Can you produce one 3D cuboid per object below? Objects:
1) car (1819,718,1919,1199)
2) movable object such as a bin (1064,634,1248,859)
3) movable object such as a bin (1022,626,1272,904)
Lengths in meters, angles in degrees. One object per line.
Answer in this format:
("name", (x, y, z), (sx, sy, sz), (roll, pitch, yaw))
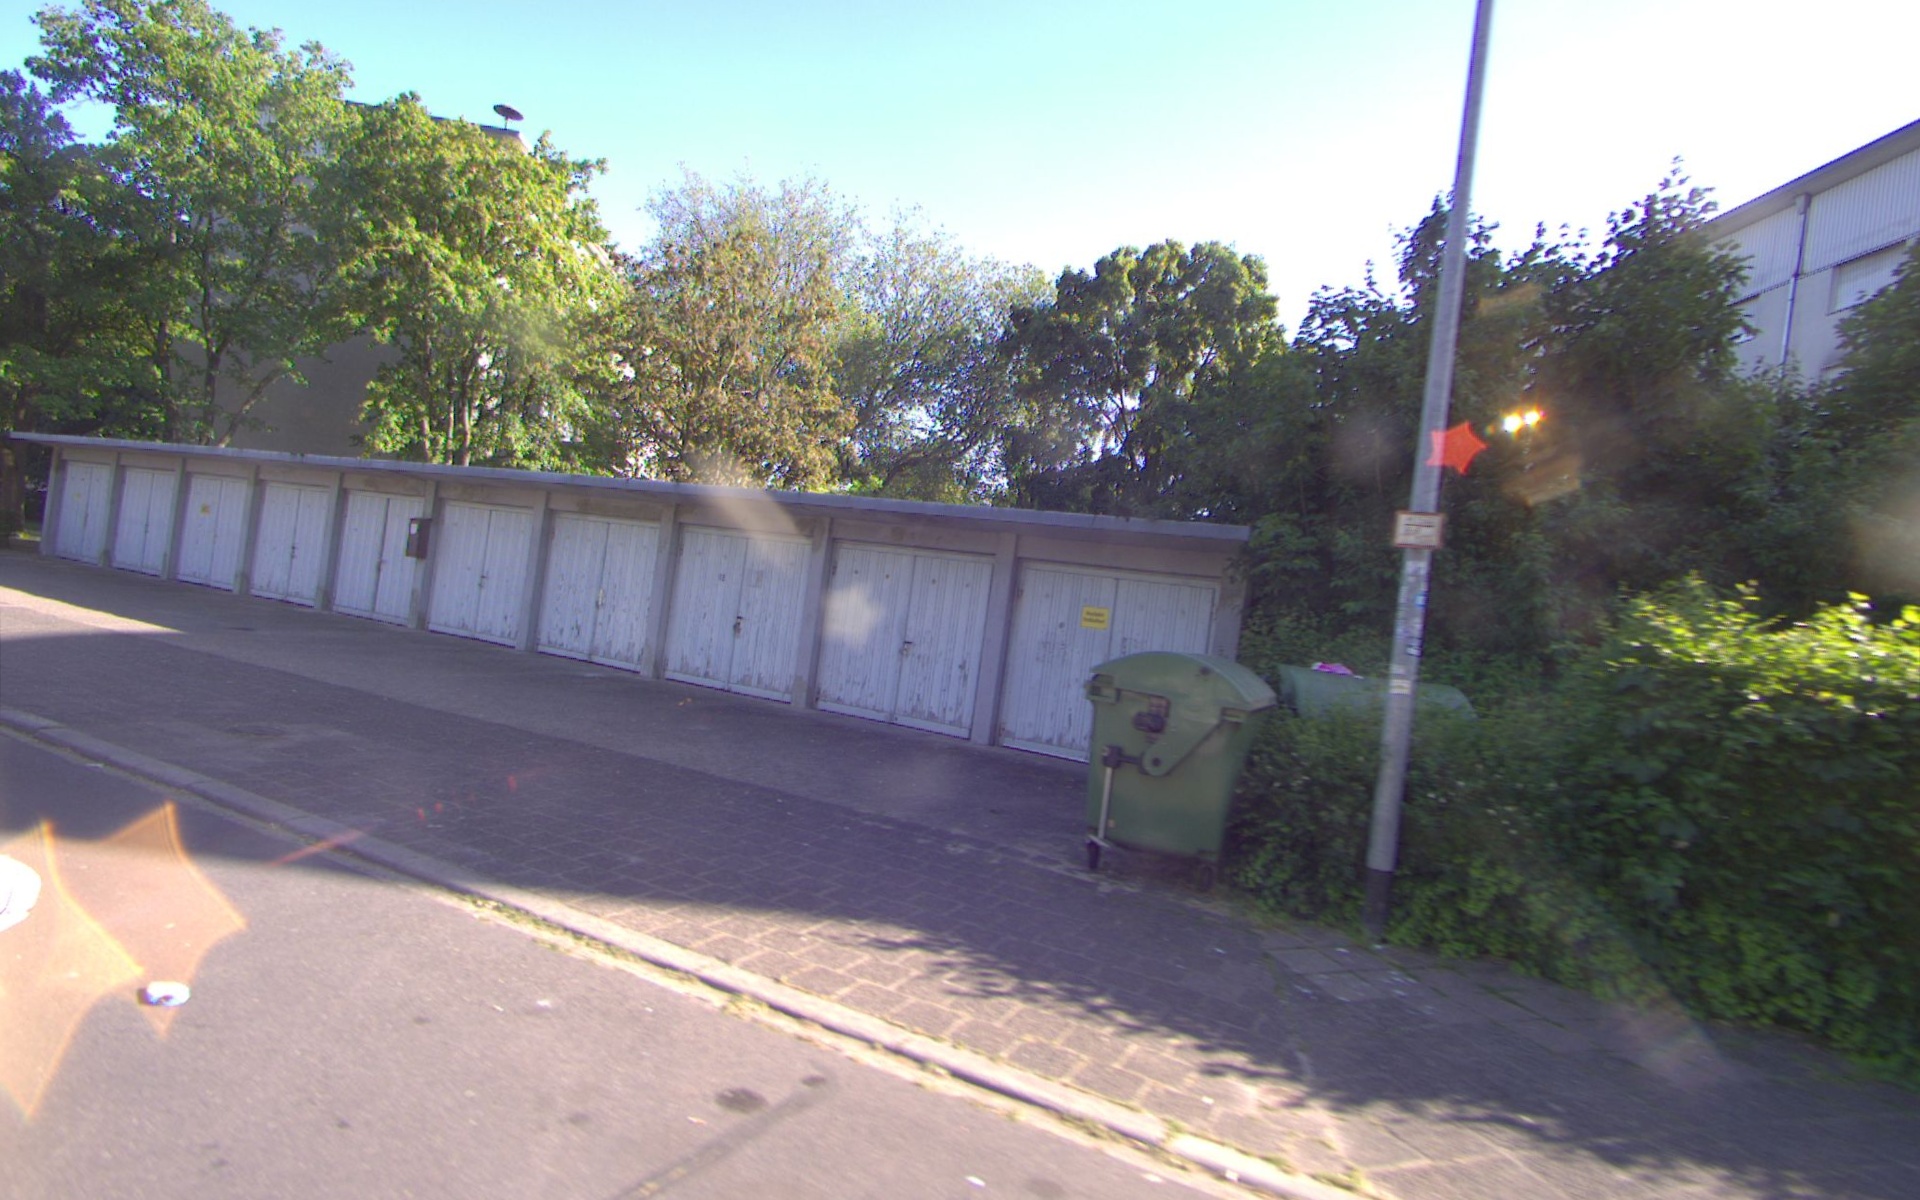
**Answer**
("car", (3.613, 1.195, 0.642), (4.252, 1.548, 1.914), (7, -2, 27))
("movable object such as a bin", (1.525, 1.082, 7.745), (1.008, 1.471, 0.919), (7, -1, 27))
("movable object such as a bin", (1.225, 0.999, 6.505), (1.211, 1.471, 0.919), (7, -1, 27))
